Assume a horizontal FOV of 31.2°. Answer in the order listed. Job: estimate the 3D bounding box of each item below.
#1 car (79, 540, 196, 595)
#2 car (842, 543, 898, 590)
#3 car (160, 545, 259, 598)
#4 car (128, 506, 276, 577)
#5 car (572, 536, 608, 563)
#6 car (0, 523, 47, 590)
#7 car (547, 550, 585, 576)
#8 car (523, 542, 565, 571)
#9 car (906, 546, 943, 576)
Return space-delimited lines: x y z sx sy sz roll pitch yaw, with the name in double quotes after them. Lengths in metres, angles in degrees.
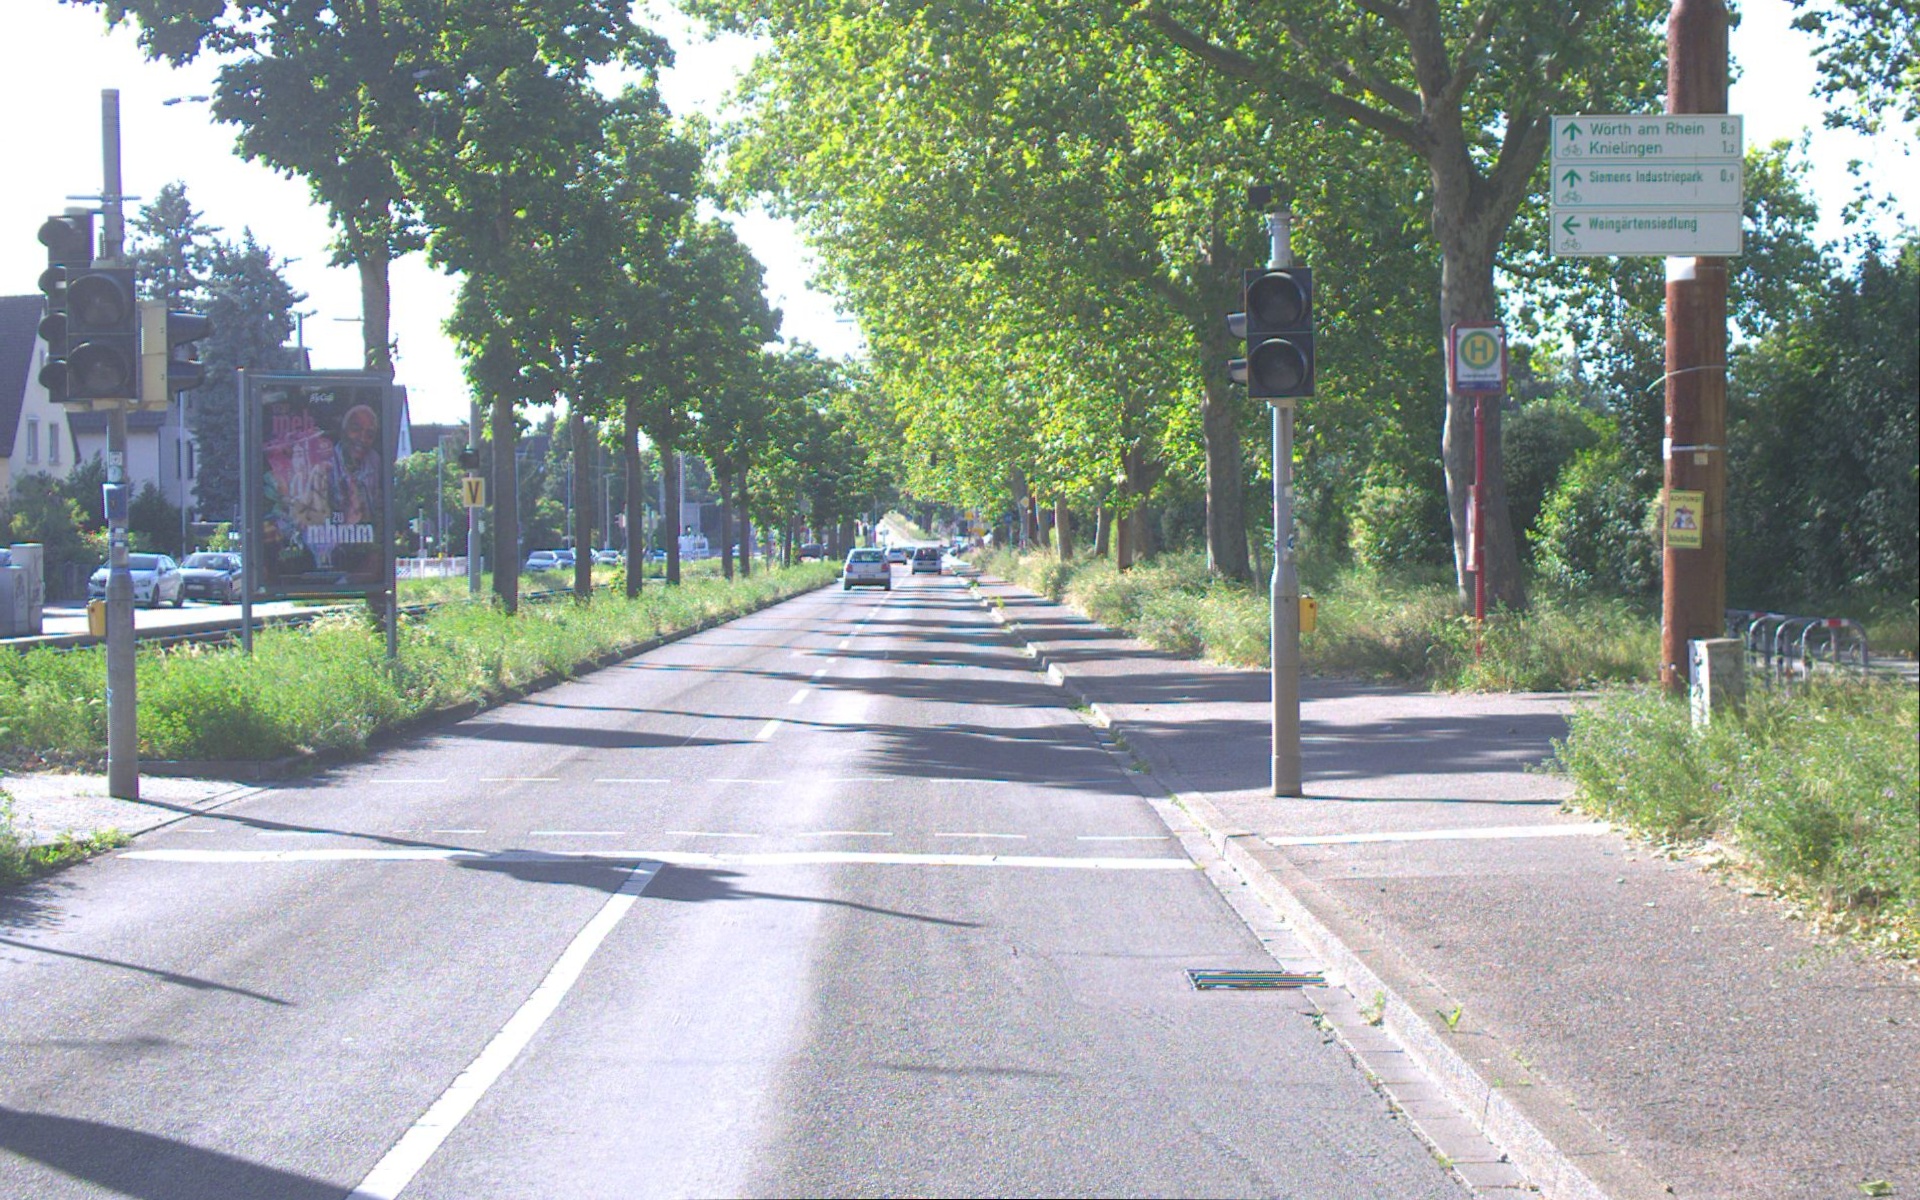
-22.233 -0.887 93.064 1.993 1.421 4.410 1 1 1 "car"
-3.128 -1.175 119.867 1.860 1.595 4.228 1 1 -1 "car"
-22.228 -0.847 101.947 1.993 1.445 4.128 3 1 -1 "car"
-28.191 -2.187 127.995 5.028 2.616 2.102 0 1 0 "car"
-22.691 -3.100 210.848 1.748 1.645 4.555 1 1 -1 "car"
-22.560 -1.014 79.185 1.926 1.490 4.256 1 1 -1 "car"
-22.909 -2.144 199.833 1.729 1.461 4.603 1 1 -1 "car"
-23.054 -2.416 190.639 1.860 1.537 4.228 1 1 -1 "car"
-1.976 -2.156 191.222 1.993 1.598 4.474 1 1 -1 "car"
